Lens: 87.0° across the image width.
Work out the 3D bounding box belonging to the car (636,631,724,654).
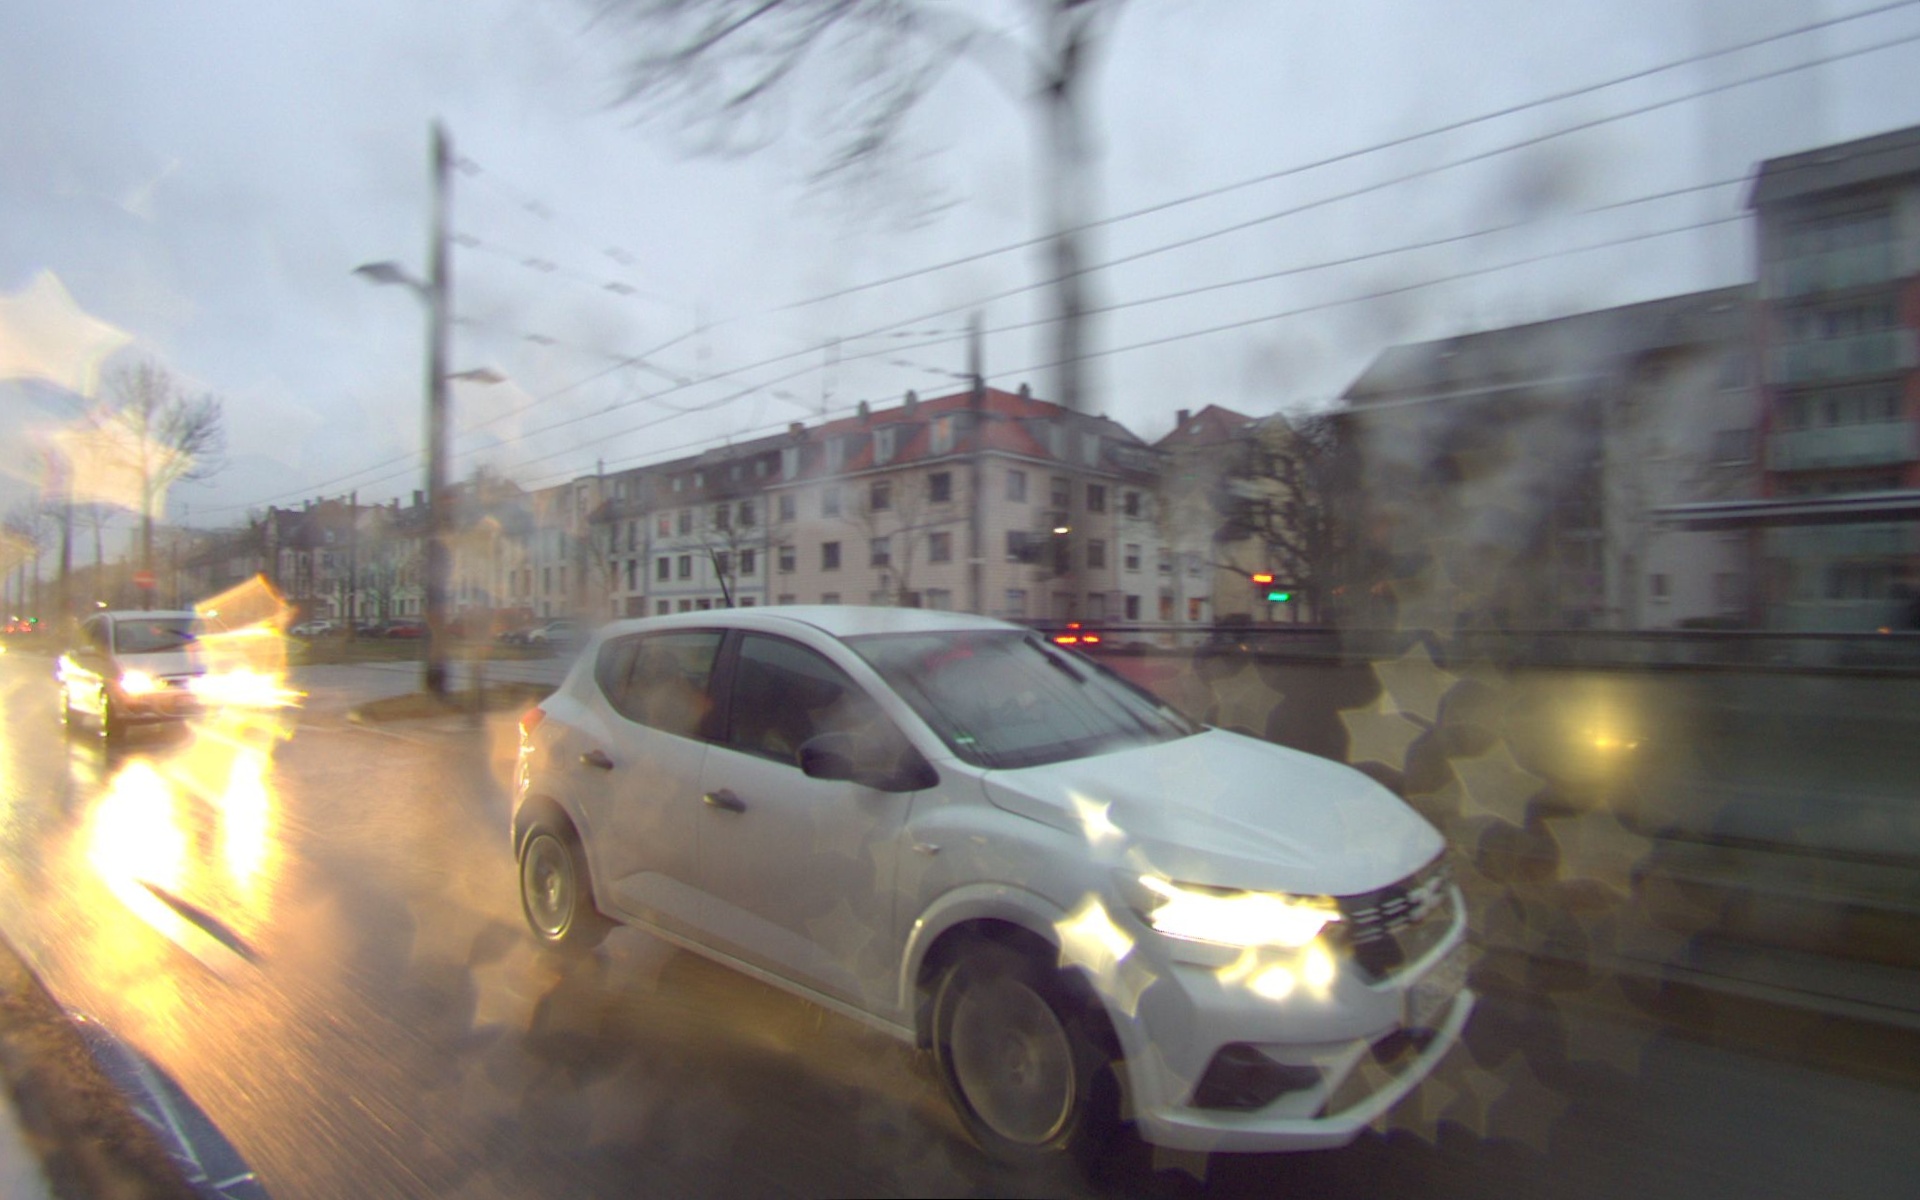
[{"bbox_3d":[-14.320,2.171,51.917,4.332,1.140,1.251,0,0,-13],"label":"car"}]

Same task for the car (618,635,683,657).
[{"bbox_3d":[-16.513,2.464,54.066,3.259,1.140,1.317,0,-2,-13],"label":"car"}]

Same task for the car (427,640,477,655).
[{"bbox_3d":[-37.232,3.464,74.210,3.057,1.014,1.189,-1,-2,-13],"label":"car"}]

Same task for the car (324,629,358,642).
[{"bbox_3d":[-59.861,3.410,97.928,2.590,1.114,1.256,-1,0,-45],"label":"car"}]

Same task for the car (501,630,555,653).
[{"bbox_3d":[-27.927,2.667,65.517,3.057,1.395,1.316,-1,-2,-13],"label":"car"}]

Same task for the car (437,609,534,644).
[{"bbox_3d":[-32.822,1.792,70.178,5.810,2.271,1.826,0,0,-14],"label":"car"}]

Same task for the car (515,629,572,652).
[{"bbox_3d":[-26.029,2.527,63.285,3.153,1.395,1.317,0,-2,-16],"label":"car"}]

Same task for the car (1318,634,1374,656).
[{"bbox_3d":[27.165,3.132,71.339,3.516,1.448,1.550,0,0,15],"label":"car"}]

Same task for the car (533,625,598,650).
[{"bbox_3d":[-23.744,2.253,61.047,3.548,1.395,1.317,0,-2,-16],"label":"car"}]

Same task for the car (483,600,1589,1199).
[{"bbox_3d":[-0.066,0.754,3.865,3.997,1.477,1.691,0,0,41],"label":"car"}]

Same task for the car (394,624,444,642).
[{"bbox_3d":[-42.393,2.588,79.351,3.151,1.326,1.556,-1,0,-17],"label":"car"}]

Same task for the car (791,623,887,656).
[{"bbox_3d":[-5.186,1.671,43.395,3.933,1.265,1.448,-1,0,-14],"label":"car"}]

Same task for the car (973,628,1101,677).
[{"bbox_3d":[2.418,1.636,32.450,3.999,1.378,1.499,0,0,42],"label":"car"}]

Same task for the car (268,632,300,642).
[{"bbox_3d":[-70.637,3.883,105.751,2.528,0.994,1.259,-1,0,-18],"label":"car"}]

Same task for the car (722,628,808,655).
[{"bbox_3d":[-9.194,1.950,47.691,3.934,1.140,1.365,-1,0,-12],"label":"car"}]

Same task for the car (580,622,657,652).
[{"bbox_3d":[-18.985,2.050,56.450,3.947,1.516,1.316,0,0,-12],"label":"car"}]

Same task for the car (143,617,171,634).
[{"bbox_3d":[-101.198,3.241,127.548,3.997,2.029,1.973,0,0,41],"label":"car"}]

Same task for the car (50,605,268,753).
[{"bbox_3d":[-11.084,0.931,13.904,1.992,1.690,4.004,-1,0,-44],"label":"car"}]
